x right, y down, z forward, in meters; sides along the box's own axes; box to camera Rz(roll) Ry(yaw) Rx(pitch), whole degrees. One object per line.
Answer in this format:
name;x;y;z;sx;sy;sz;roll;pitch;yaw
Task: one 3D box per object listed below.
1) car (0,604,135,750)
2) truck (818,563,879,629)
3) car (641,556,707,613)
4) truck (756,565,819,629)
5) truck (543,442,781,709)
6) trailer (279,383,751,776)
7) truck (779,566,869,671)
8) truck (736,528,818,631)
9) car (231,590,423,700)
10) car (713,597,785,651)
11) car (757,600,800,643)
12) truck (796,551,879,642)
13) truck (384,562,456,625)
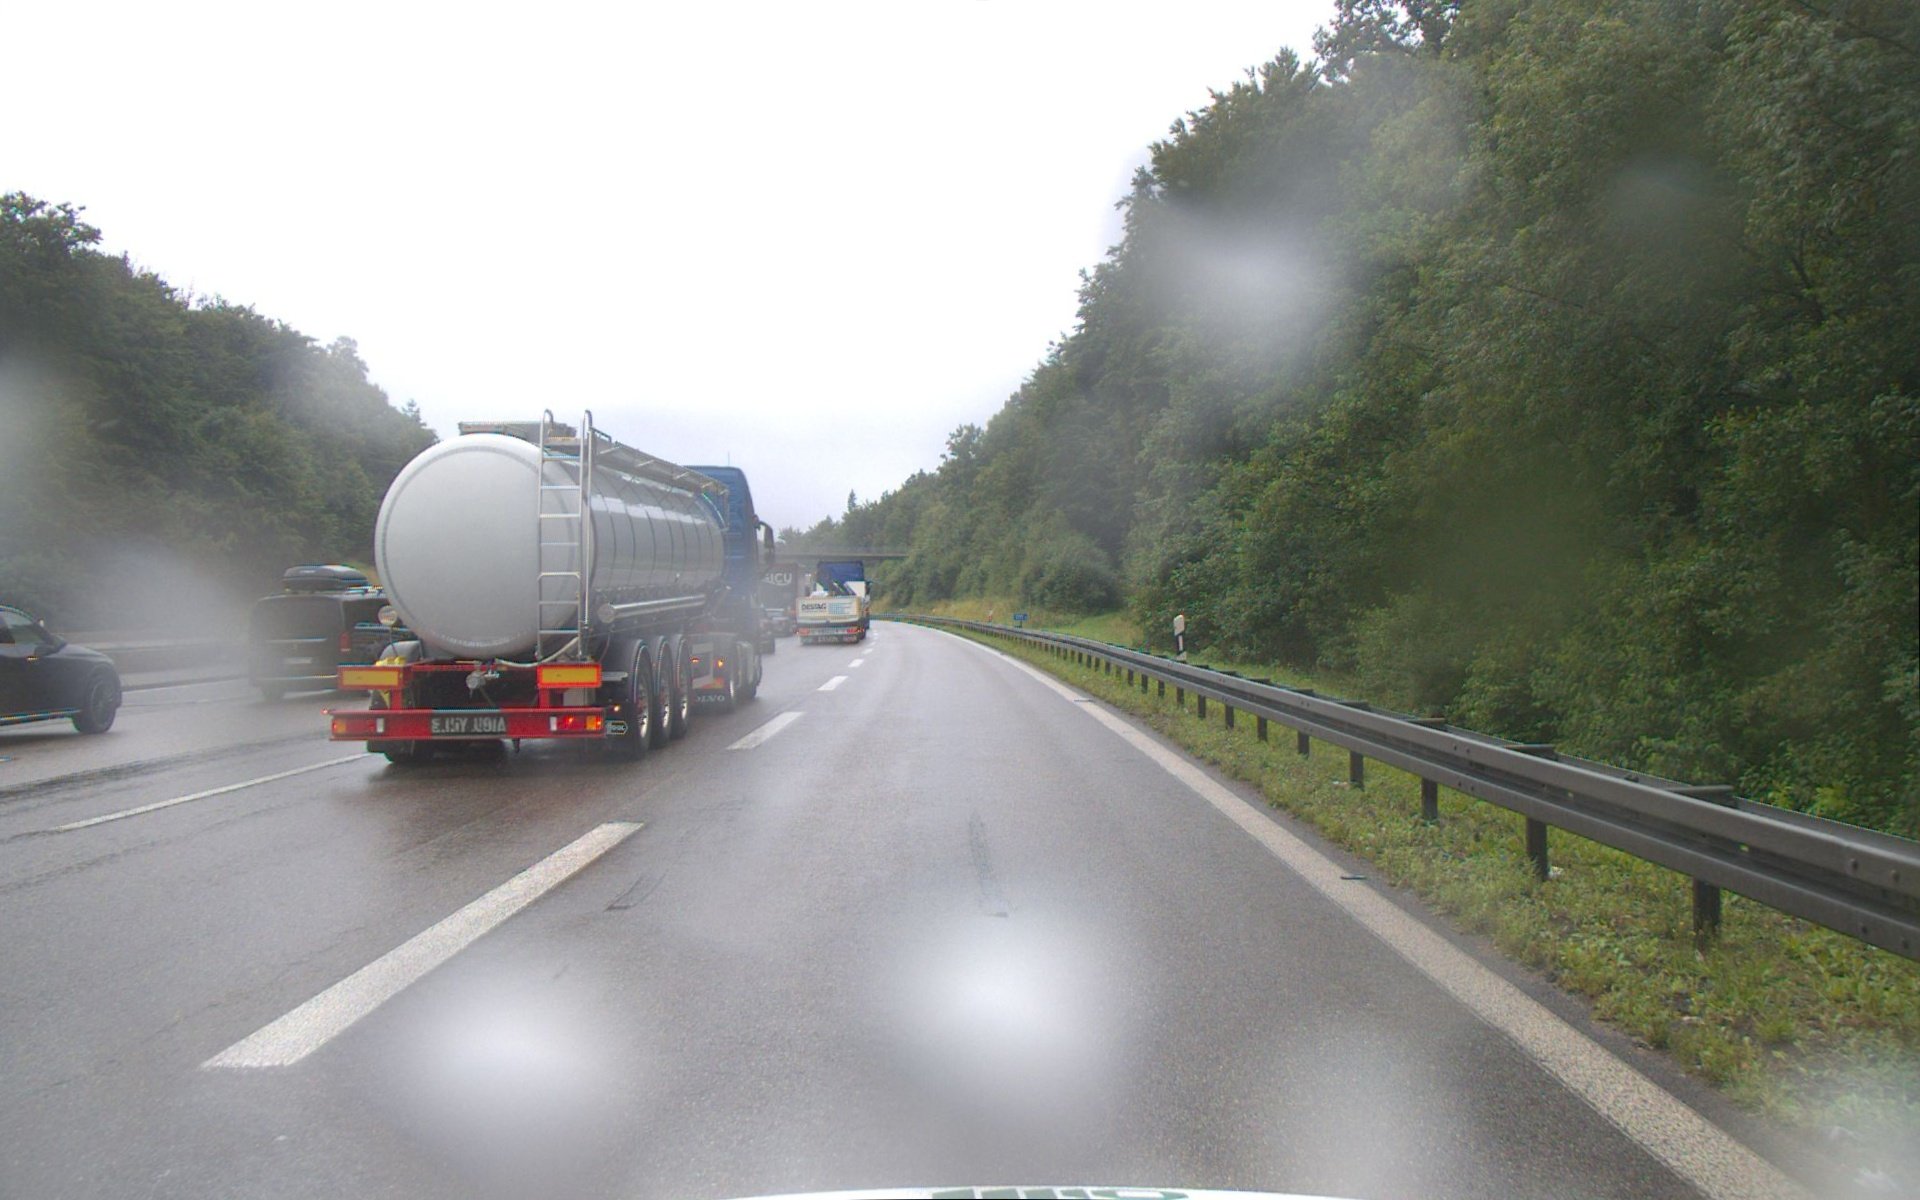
car;-11.670;0.866;19.086;1.953;1.622;4.807;-1;0;-1
truck;-7.771;-0.162;117.121;3.679;4.040;11.054;3;-2;-1
car;-10.732;-0.547;62.250;1.761;1.870;3.998;3;-2;-1
truck;-12.123;-0.114;116.984;3.504;4.167;10.875;0;-2;-1
truck;-4.500;-0.343;26.008;2.818;3.758;5.056;0;0;0
trailer;-4.453;-0.165;19.220;2.815;3.346;10.076;0;0;0
truck;-5.808;0.773;72.547;3.528;4.177;11.553;-1;0;-3
truck;-10.919;-1.071;100.008;3.678;5.595;10.169;3;-2;-1
car;-11.357;0.769;29.987;1.953;1.830;4.153;0;0;-1
car;-7.140;0.844;56.331;1.953;1.665;3.998;3;-2;-2
car;-9.422;1.164;86.136;1.757;2.049;3.998;3;-2;-1
truck;-6.432;-0.045;88.496;3.436;4.343;10.600;3;-2;0
truck;-35.663;-0.400;109.402;2.400;4.017;7.237;1;0;-1
